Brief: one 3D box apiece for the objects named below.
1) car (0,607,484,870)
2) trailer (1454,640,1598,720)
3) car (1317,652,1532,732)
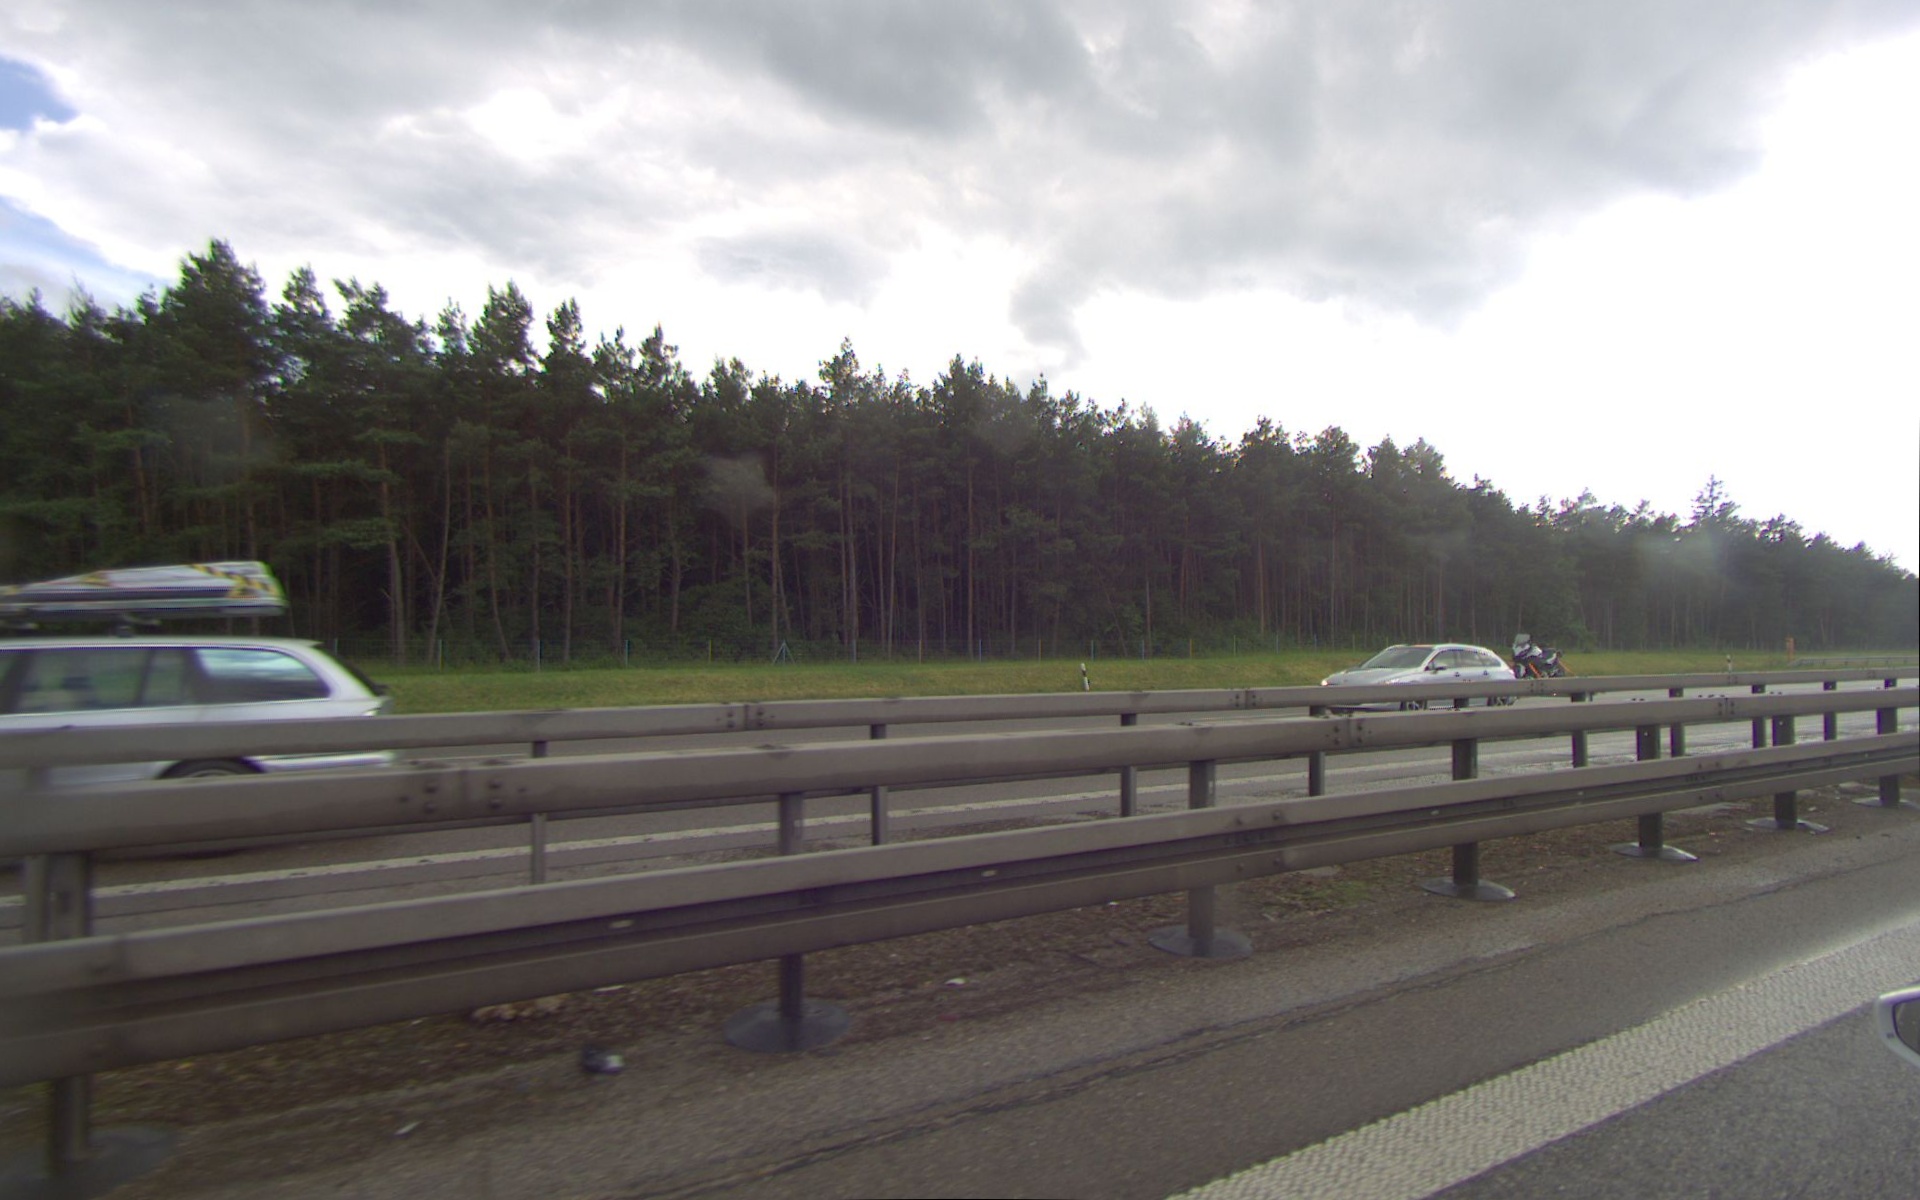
[{"bbox_3d":[-5.801,0.854,7.000,4.352,1.567,1.776,1,-2,-31],"label":"car"},{"bbox_3d":[12.786,1.758,22.663,3.173,1.694,1.473,2,-3,-32],"label":"trailer"},{"bbox_3d":[9.541,1.817,20.529,4.523,1.438,1.819,1,-4,-33],"label":"car"}]
